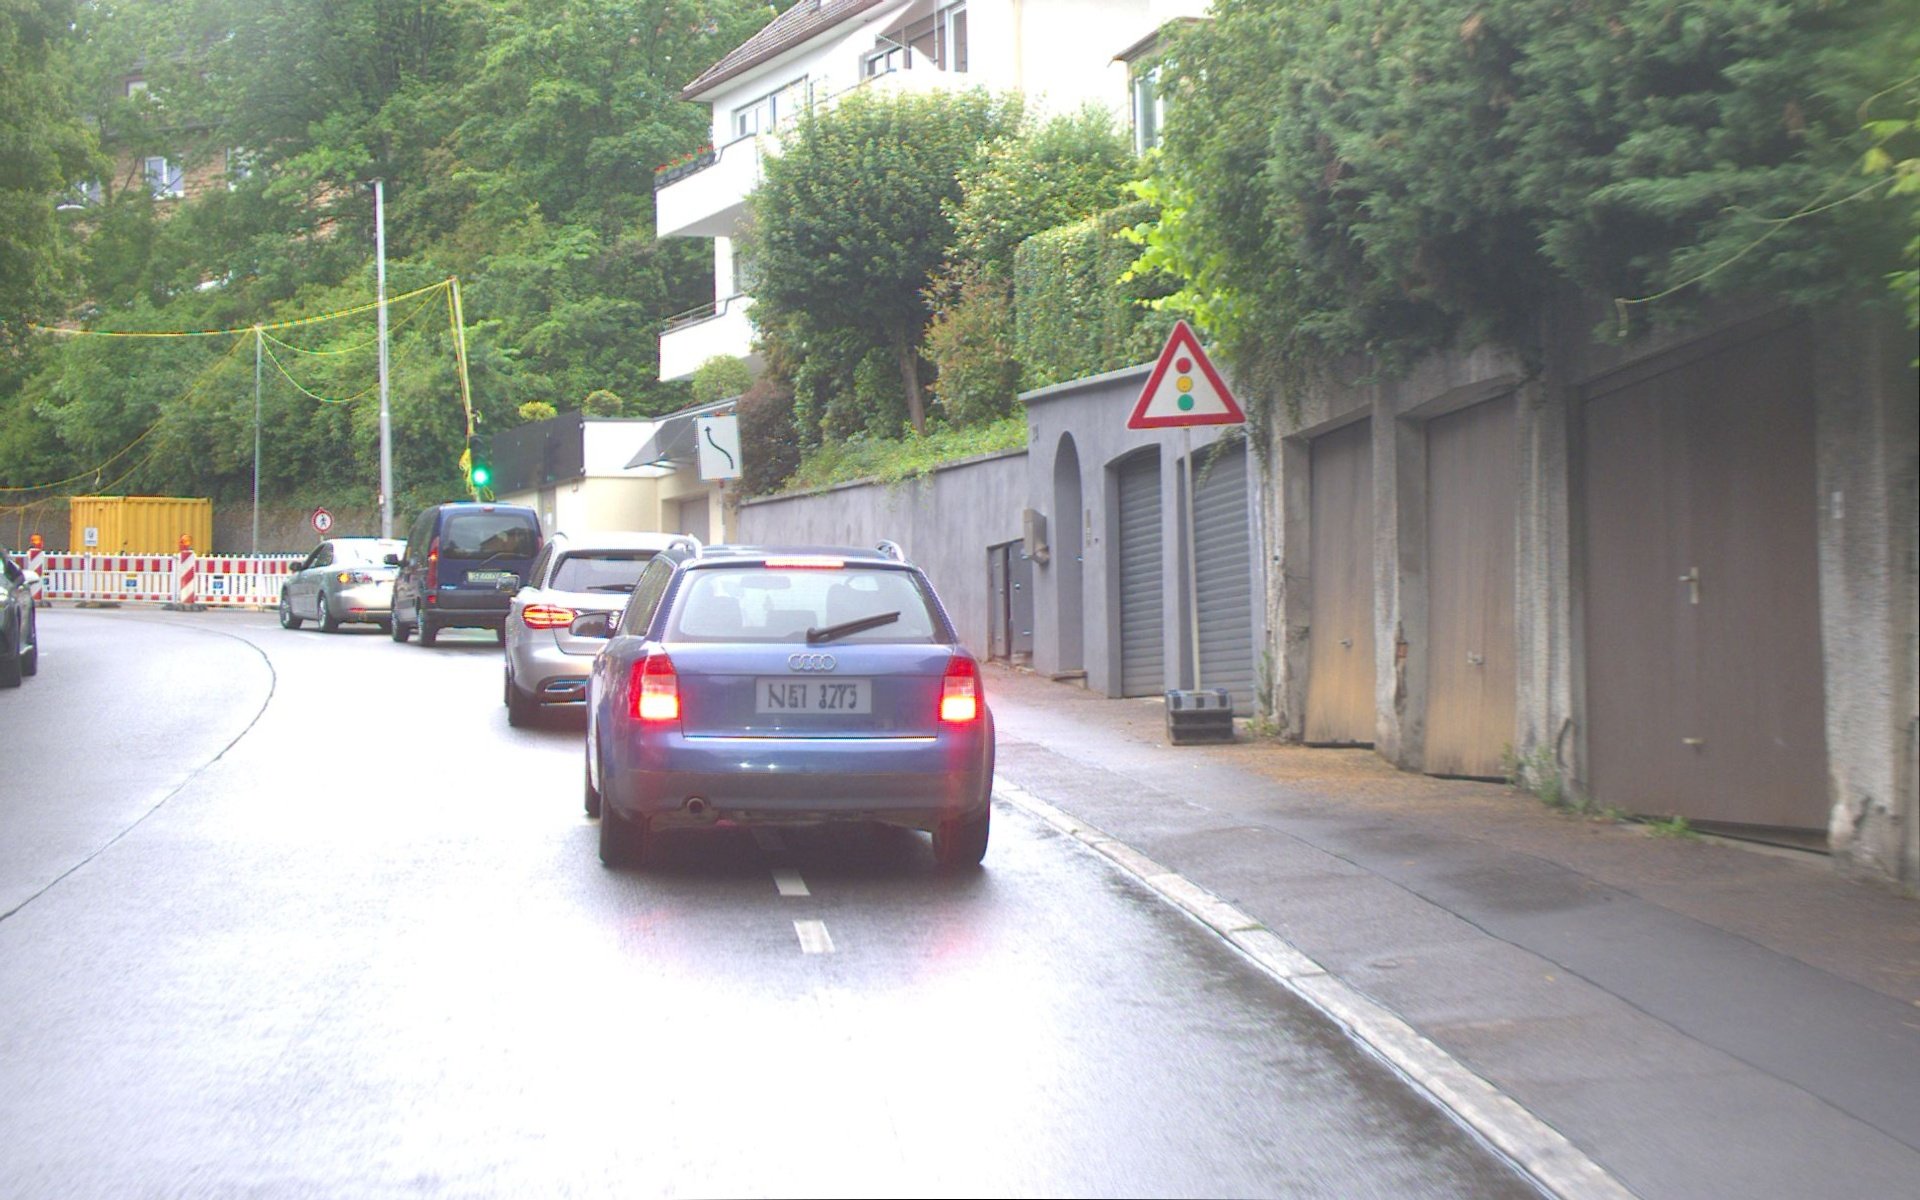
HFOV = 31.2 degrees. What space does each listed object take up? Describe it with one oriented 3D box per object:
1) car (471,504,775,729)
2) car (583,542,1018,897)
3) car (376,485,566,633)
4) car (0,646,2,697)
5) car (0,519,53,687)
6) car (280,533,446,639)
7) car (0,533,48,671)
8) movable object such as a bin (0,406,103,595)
[{"bbox_3d":[-2.720,0.057,26.894,1.925,1.612,4.322,0,2,-12],"label":"car"},{"bbox_3d":[-0.874,0.461,16.307,1.785,1.437,3.965,-1,1,-6],"label":"car"},{"bbox_3d":[-6.434,-0.561,44.880,1.993,1.787,4.001,-2,2,-14],"label":"car"},{"bbox_3d":[-9.570,0.186,30.457,1.632,1.559,3.850,-3,1,-10],"label":"car"},{"bbox_3d":[-10.534,0.057,35.984,1.681,1.603,4.578,-7,3,-12],"label":"car"},{"bbox_3d":[-9.066,-0.242,51.991,1.720,1.481,4.077,-2,2,-20],"label":"car"},{"bbox_3d":[-11.781,0.026,40.576,1.681,1.503,4.317,-4,2,-12],"label":"car"},{"bbox_3d":[-22.388,-2.212,76.139,7.320,4.000,2.822,1,2,40],"label":"movable object such as a bin"}]
